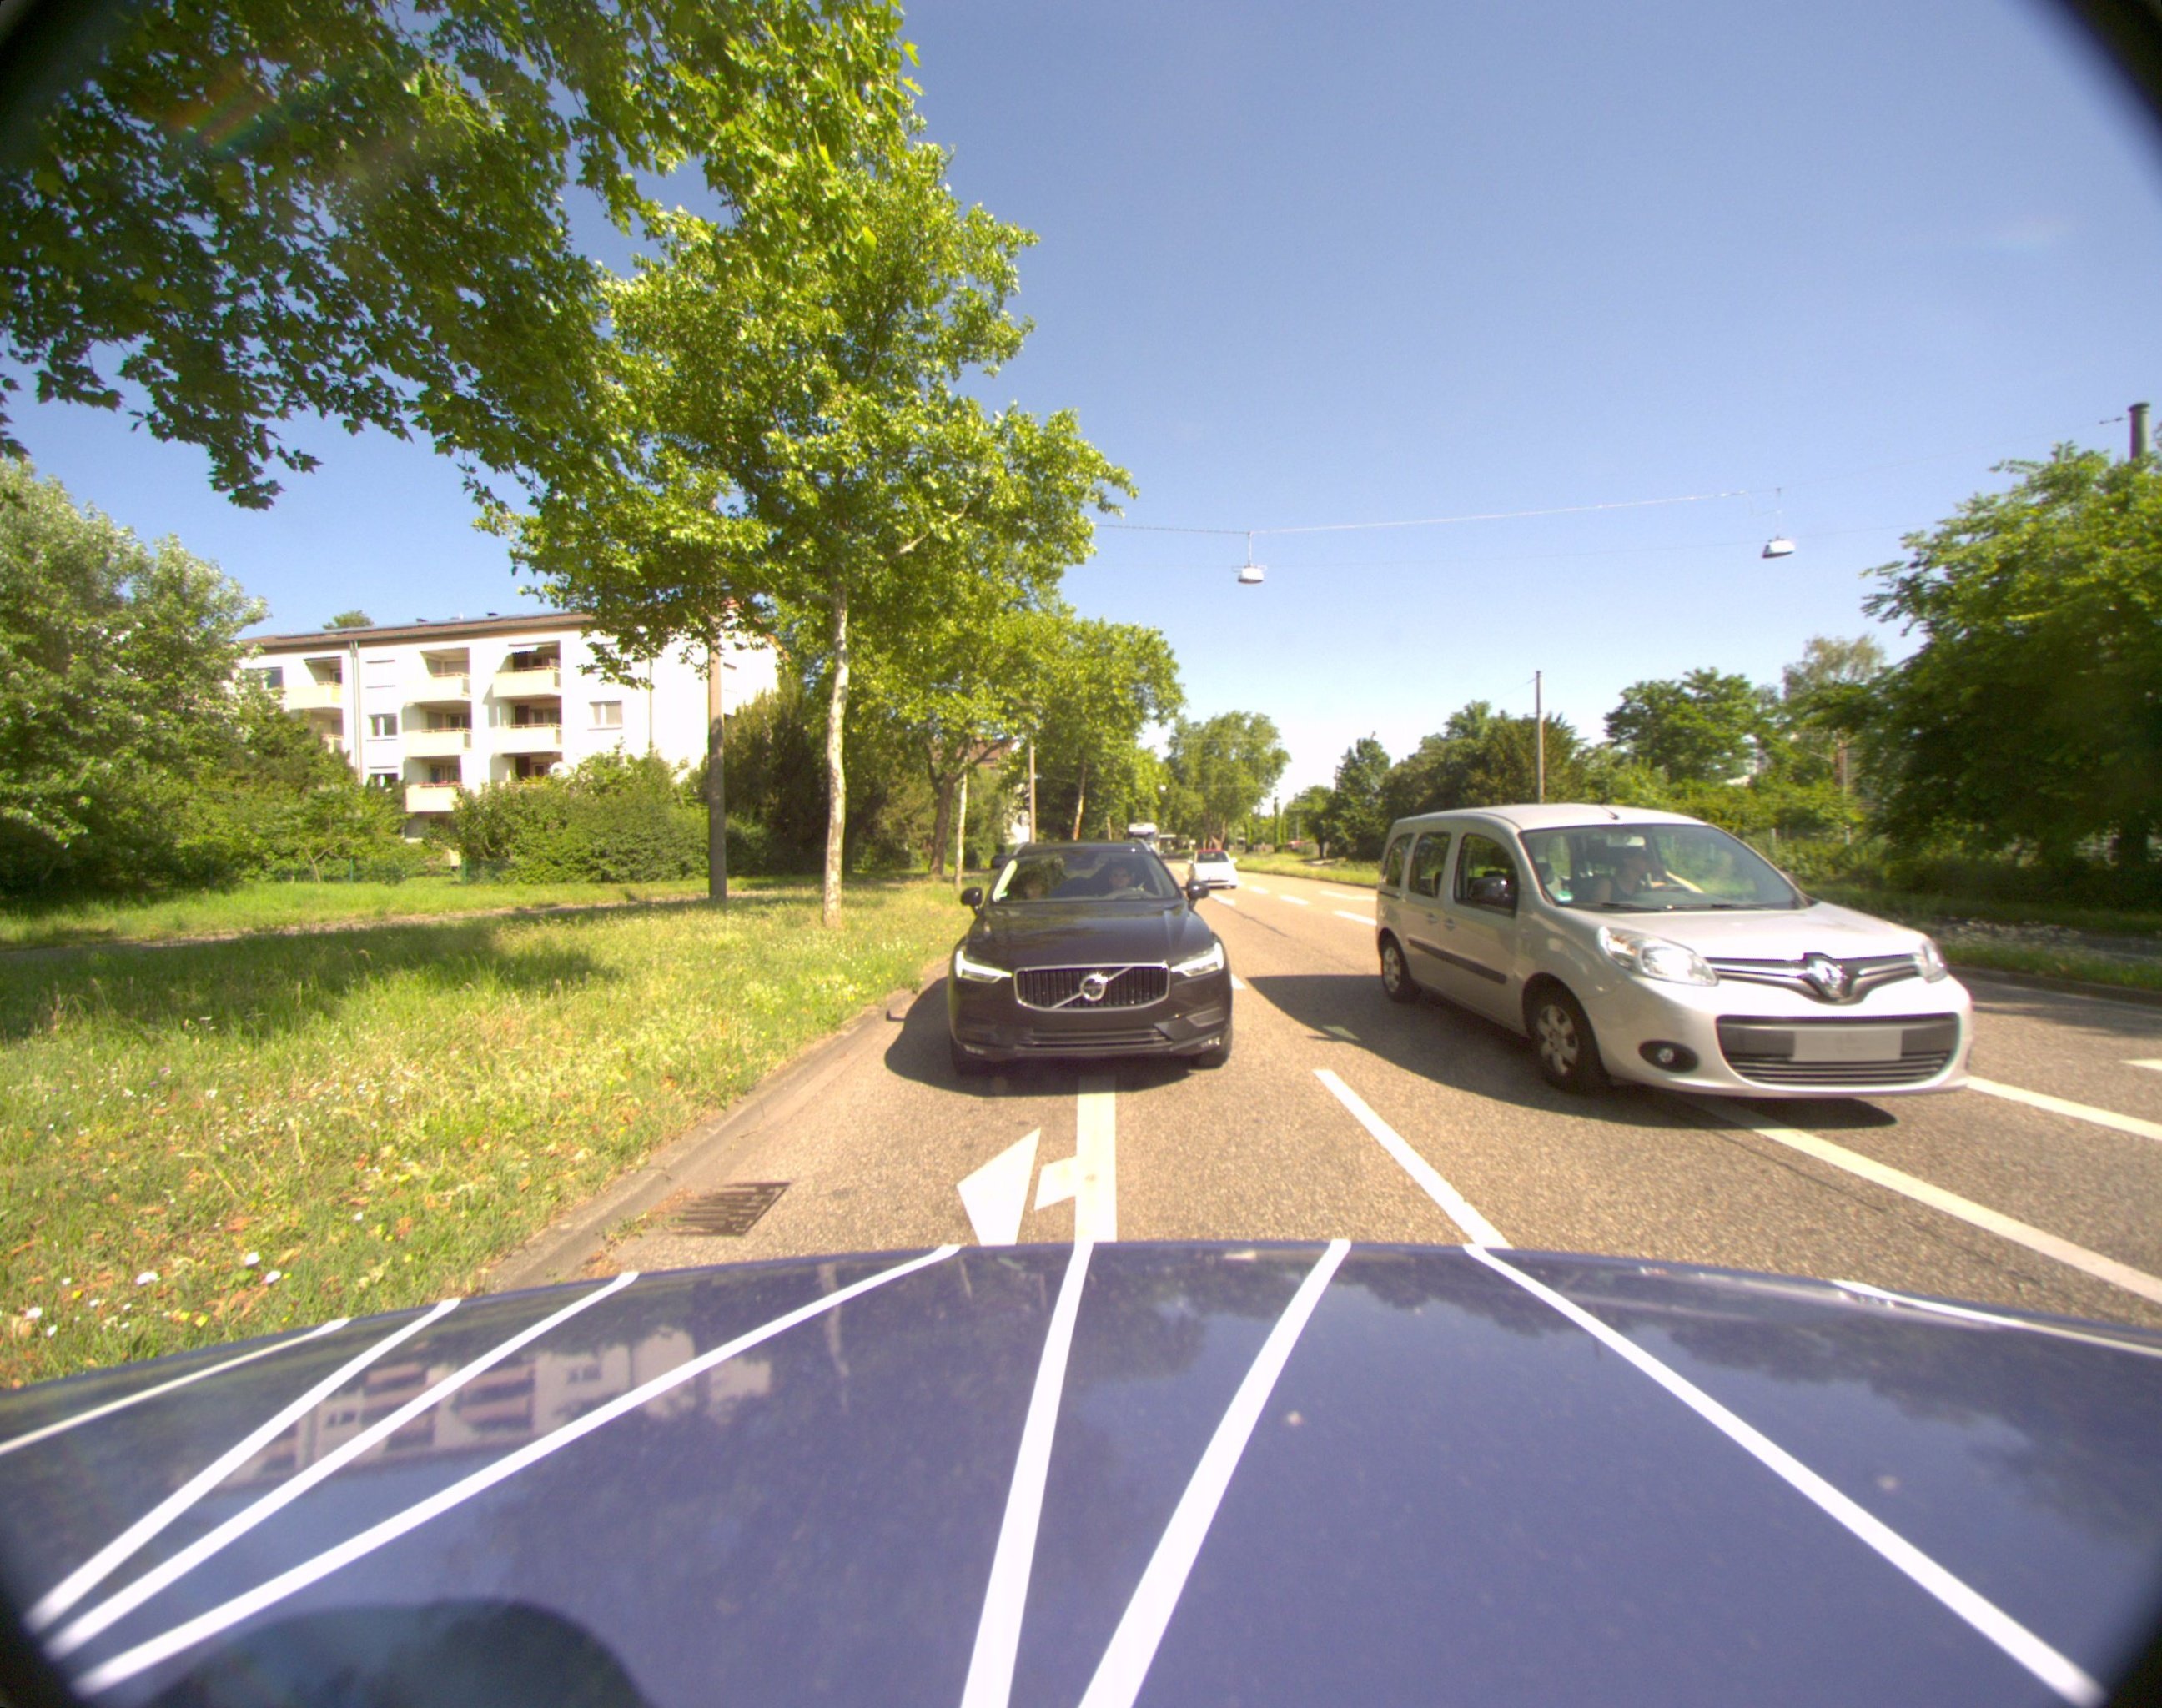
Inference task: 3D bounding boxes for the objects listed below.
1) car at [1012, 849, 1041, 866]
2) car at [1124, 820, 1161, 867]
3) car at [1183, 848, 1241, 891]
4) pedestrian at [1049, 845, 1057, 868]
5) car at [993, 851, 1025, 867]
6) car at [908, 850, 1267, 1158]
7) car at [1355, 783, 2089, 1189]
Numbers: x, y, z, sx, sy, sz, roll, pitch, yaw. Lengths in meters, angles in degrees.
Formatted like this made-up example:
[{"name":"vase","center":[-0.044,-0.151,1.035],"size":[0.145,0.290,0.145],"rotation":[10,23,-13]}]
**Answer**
[{"name":"car","center":[-5.260,0.322,73.807],"size":[1.504,1.633,4.094],"rotation":[0,1,17]},{"name":"car","center":[5.353,-0.913,67.349],"size":[2.902,3.898,7.141],"rotation":[0,1,2]},{"name":"car","center":[5.070,0.550,29.899],"size":[1.689,1.482,4.376],"rotation":[-3,1,3]},{"name":"pedestrian","center":[-2.470,0.234,67.727],"size":[0.639,2.002,0.480],"rotation":[0,1,10]},{"name":"car","center":[-6.458,0.416,68.566],"size":[1.504,1.364,4.094],"rotation":[0,1,17]},{"name":"car","center":[0.070,0.805,6.561],"size":[1.904,1.606,4.872],"rotation":[-2,1,1]},{"name":"car","center":[3.688,0.589,5.641],"size":[1.876,1.829,4.375],"rotation":[-1,1,2]}]
